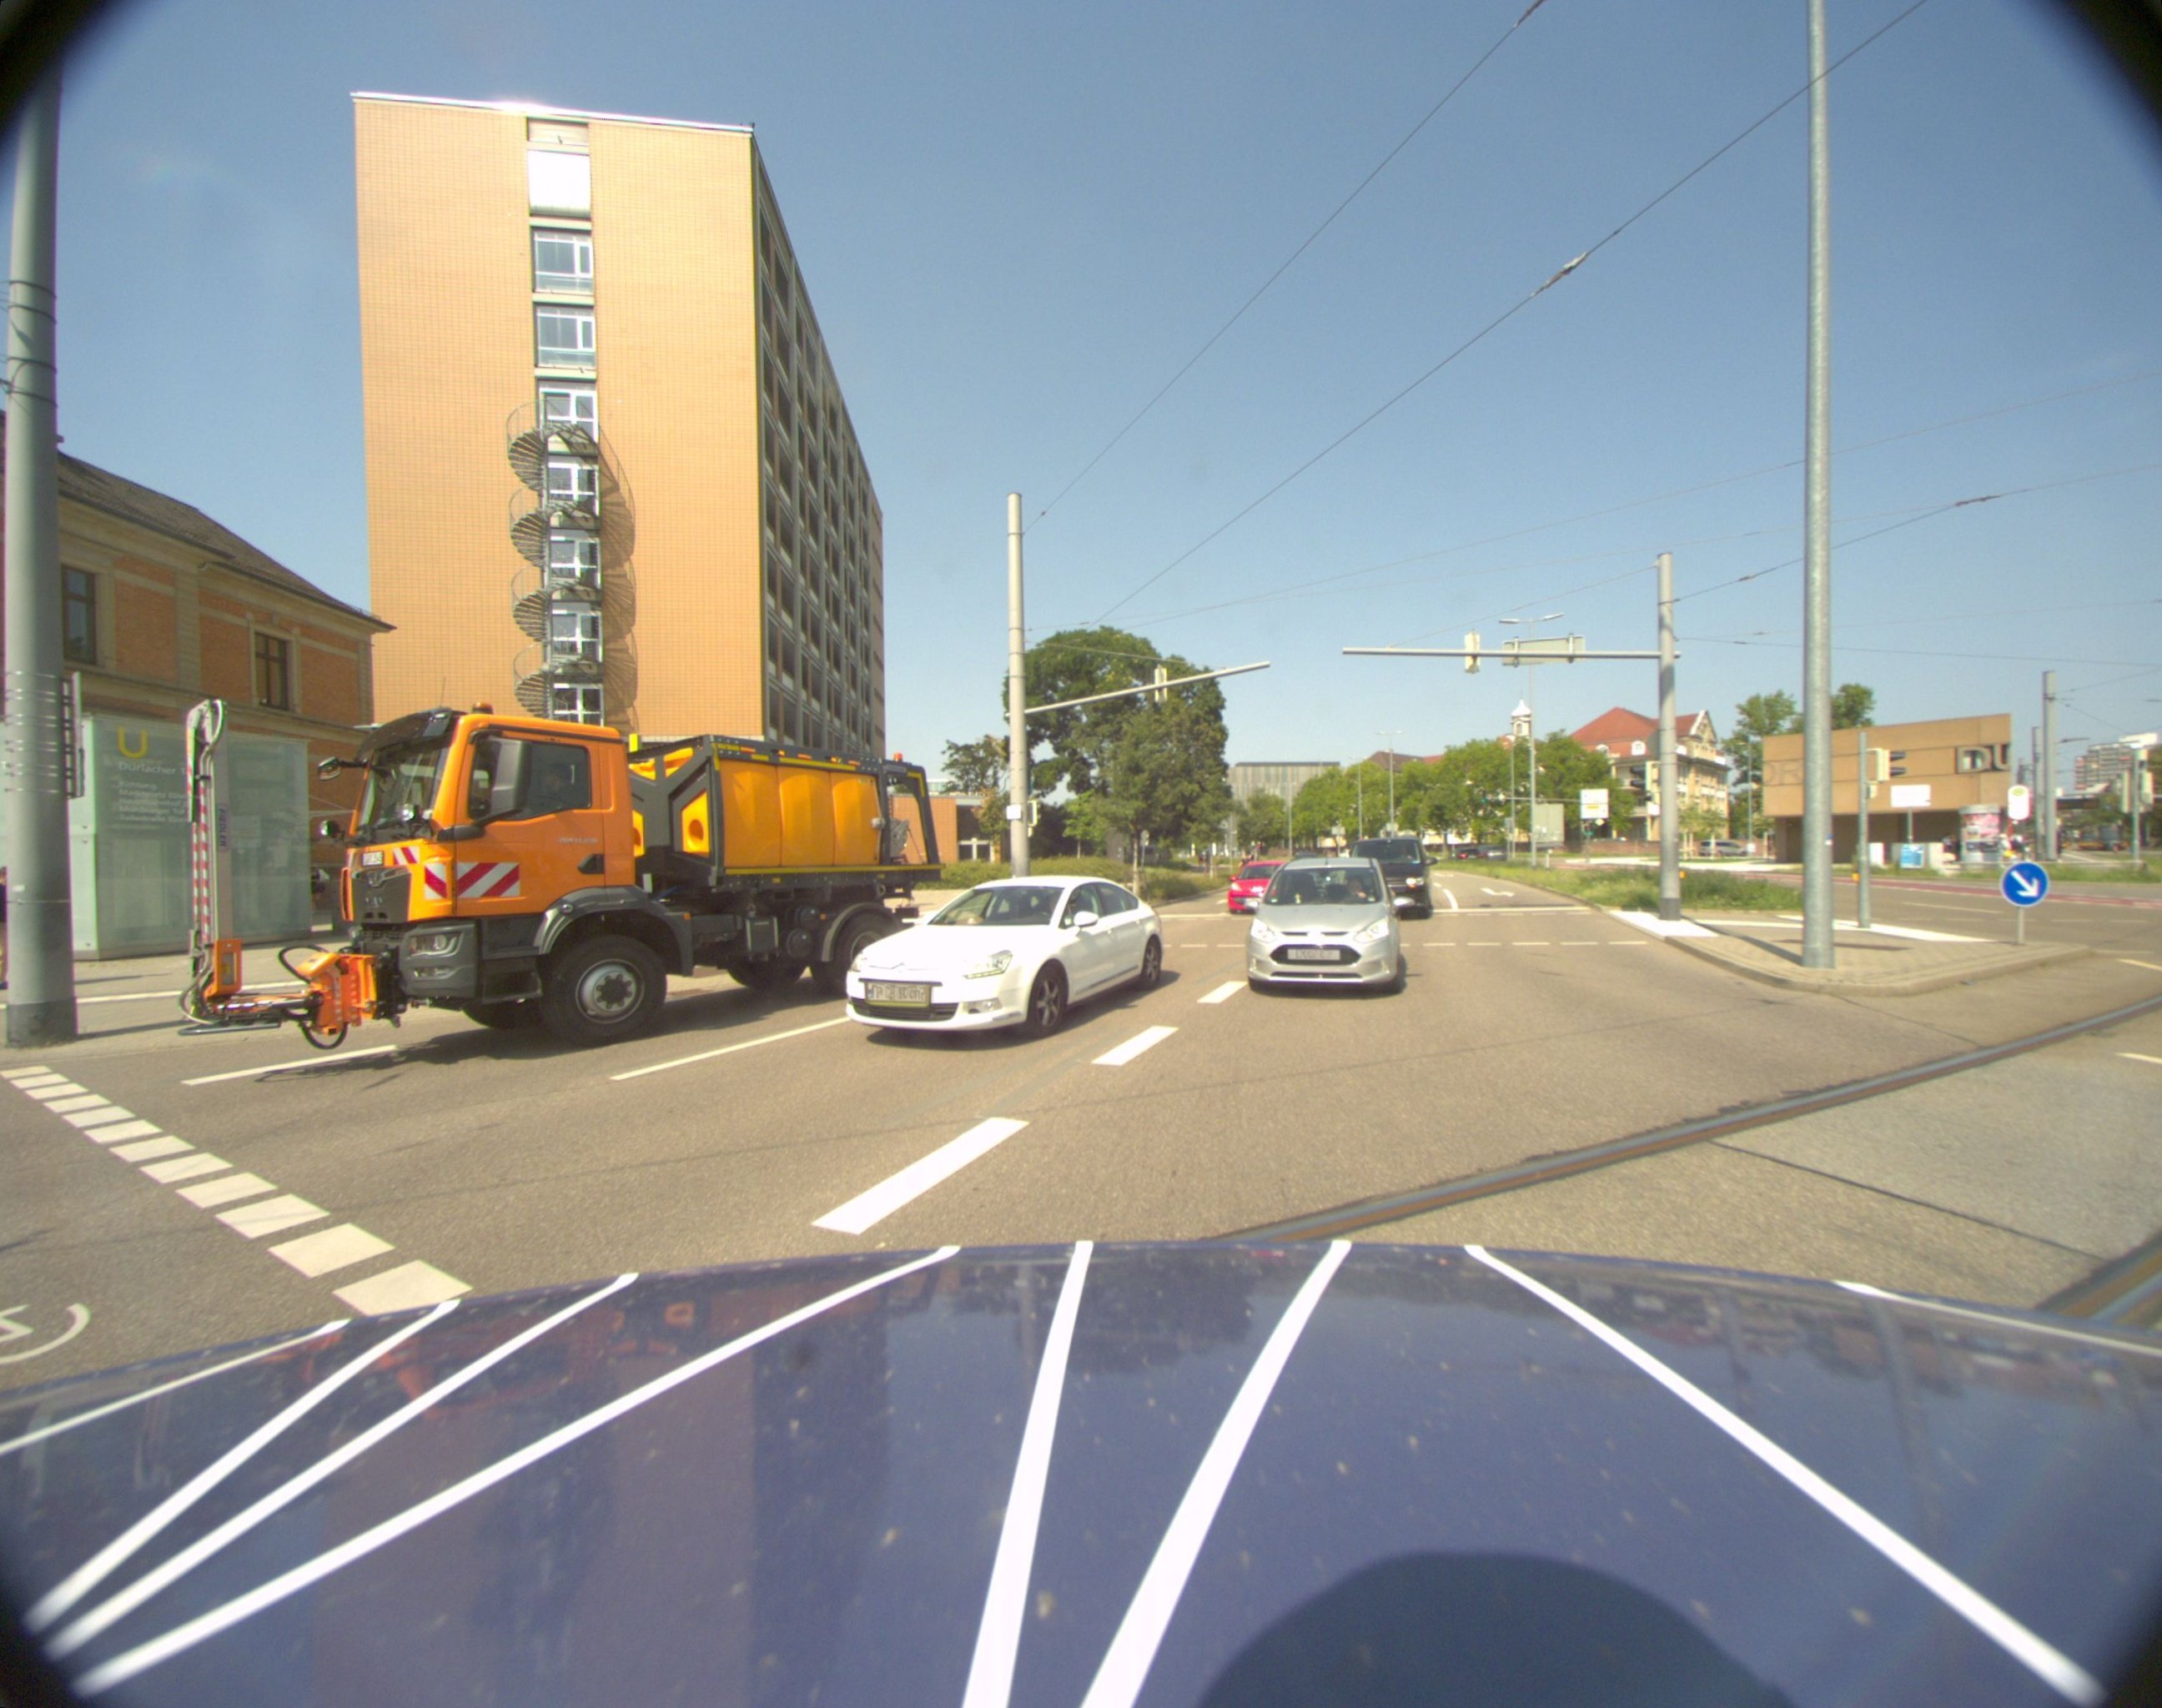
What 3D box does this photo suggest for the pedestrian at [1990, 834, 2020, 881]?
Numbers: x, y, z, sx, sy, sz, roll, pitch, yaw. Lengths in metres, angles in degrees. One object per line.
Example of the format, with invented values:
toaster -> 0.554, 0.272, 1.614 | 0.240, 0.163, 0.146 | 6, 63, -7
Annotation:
pedestrian -> 36.400, 0.133, 29.936 | 0.559, 1.805, 0.561 | -1, 1, 25

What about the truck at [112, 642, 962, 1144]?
truck -> -5.003, 0.266, 8.699 | 3.034, 3.210, 7.205 | -3, -1, 33

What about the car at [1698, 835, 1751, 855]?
car -> 66.941, -0.946, 79.088 | 3.999, 1.958, 1.999 | -1, 0, -6

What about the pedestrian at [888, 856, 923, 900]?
pedestrian -> -5.677, 0.758, 24.606 | 0.786, 1.387, 0.849 | -1, 1, 9

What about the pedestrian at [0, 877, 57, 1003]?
pedestrian -> -14.525, 1.137, 10.006 | 0.951, 1.600, 0.791 | -2, 3, -31

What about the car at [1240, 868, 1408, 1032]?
car -> 3.346, 1.040, 10.136 | 1.689, 1.585, 4.367 | -1, 0, 21

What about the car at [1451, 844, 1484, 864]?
car -> 30.422, 0.004, 59.901 | 1.676, 1.511, 3.710 | -1, 0, 17

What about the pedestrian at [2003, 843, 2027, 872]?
pedestrian -> 55.080, 0.188, 44.806 | 0.857, 1.669, 0.793 | -3, 1, -37

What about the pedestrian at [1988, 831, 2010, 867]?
pedestrian -> 43.224, -0.228, 35.774 | 0.588, 1.666, 0.577 | -3, 1, -37

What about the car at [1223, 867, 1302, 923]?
car -> 5.314, 1.139, 21.975 | 1.514, 1.400, 3.364 | -1, 0, 25

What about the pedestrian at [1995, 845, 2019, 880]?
pedestrian -> 35.941, 0.330, 29.491 | 0.460, 1.367, 0.350 | -1, 1, 25

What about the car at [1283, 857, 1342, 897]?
car -> 8.890, 0.848, 28.971 | 1.514, 1.331, 3.514 | -3, 0, 27

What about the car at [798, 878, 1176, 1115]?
car -> -0.592, 1.184, 8.197 | 1.768, 1.609, 4.611 | -3, 0, 26

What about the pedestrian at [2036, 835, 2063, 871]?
pedestrian -> 45.826, -0.052, 35.948 | 0.570, 1.636, 0.512 | -3, 1, 9

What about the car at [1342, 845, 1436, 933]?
car -> 7.917, 0.758, 19.230 | 1.896, 1.919, 4.894 | -1, 0, 25

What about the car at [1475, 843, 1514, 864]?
car -> 34.592, -0.037, 63.681 | 1.899, 1.643, 4.662 | -1, 0, 17
